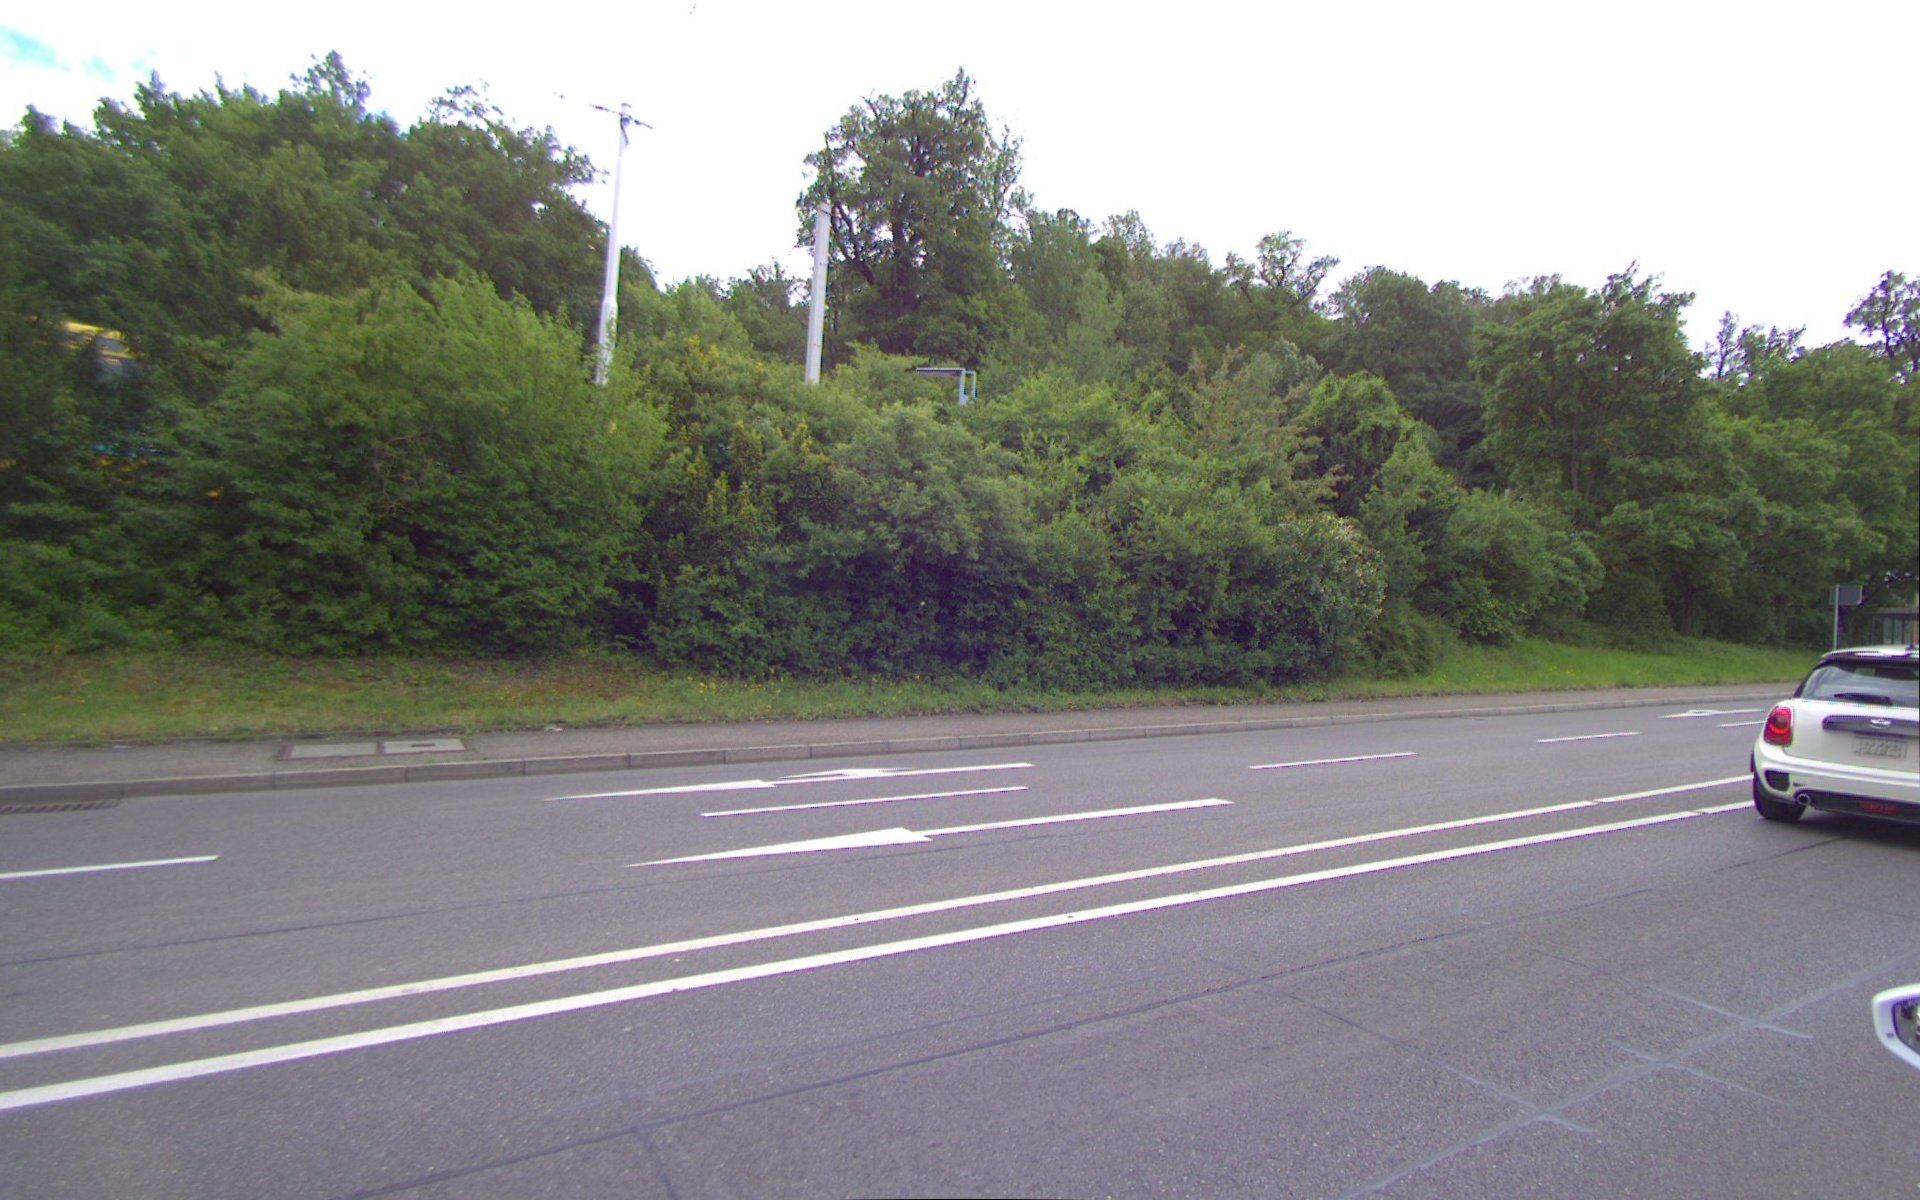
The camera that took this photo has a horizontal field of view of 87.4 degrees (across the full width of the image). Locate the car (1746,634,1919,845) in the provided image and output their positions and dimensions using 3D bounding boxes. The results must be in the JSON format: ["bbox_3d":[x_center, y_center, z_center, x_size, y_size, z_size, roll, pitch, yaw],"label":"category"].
[{"bbox_3d":[7.929,1.017,7.971,3.528,1.412,1.618,2,-1,-33],"label":"car"}]

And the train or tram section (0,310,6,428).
[{"bbox_3d":[-21.283,-4.155,16.285,8.073,3.083,2.043,3,0,-35],"label":"train or tram section"}]

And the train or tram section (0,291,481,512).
[{"bbox_3d":[-14.675,-3.820,21.005,8.073,3.083,2.043,3,0,-35],"label":"train or tram section"}]
